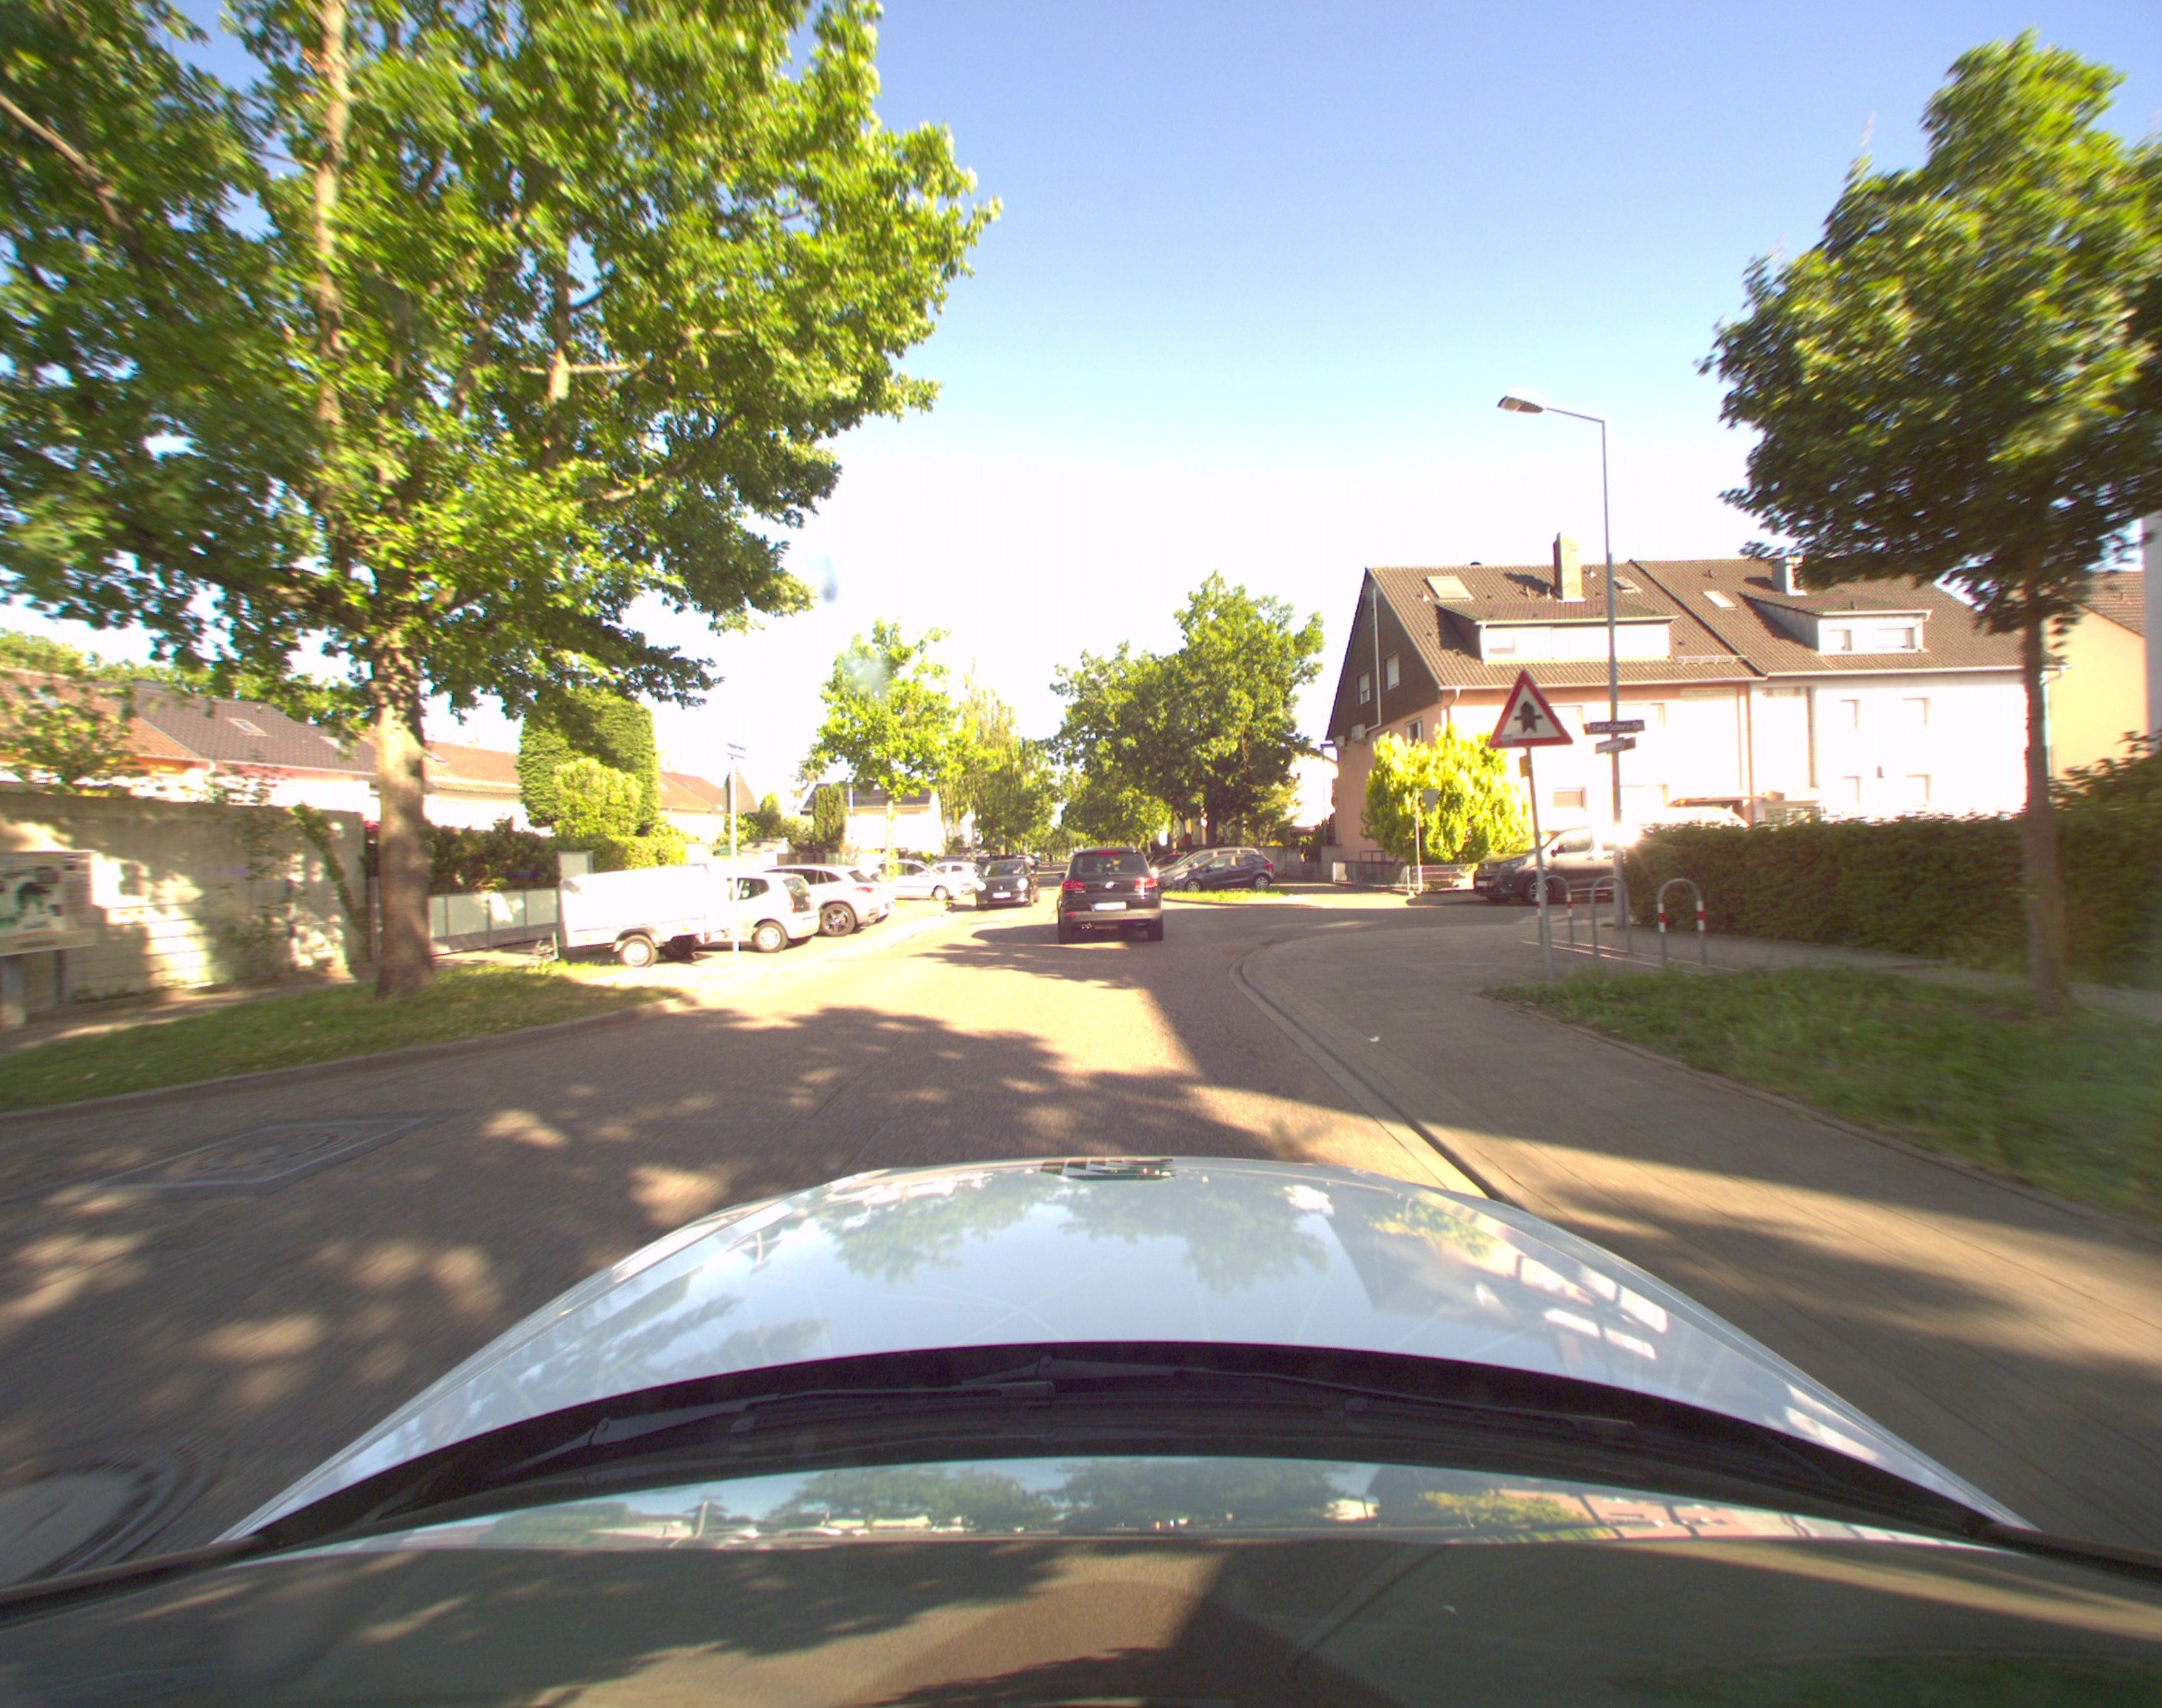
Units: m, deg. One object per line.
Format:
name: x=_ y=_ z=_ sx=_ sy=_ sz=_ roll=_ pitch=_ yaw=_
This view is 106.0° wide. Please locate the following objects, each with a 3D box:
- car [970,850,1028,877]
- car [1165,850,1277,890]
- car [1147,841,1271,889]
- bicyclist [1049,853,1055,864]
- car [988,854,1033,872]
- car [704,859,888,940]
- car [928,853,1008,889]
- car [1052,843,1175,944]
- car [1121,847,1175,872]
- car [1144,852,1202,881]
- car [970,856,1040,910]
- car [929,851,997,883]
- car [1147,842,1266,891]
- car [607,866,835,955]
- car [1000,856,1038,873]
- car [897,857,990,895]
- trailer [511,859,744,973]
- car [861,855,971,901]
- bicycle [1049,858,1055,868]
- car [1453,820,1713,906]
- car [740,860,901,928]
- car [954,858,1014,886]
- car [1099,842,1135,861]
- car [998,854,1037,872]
car: x=-6.296 y=0.766 z=62.911 sx=4.382 sy=1.939 sz=1.576 roll=-1 pitch=-2 yaw=-5
car: x=5.313 y=0.595 z=31.320 sx=3.974 sy=1.368 sz=1.846 roll=-2 pitch=0 yaw=0
car: x=5.726 y=0.488 z=36.859 sx=5.243 sy=1.945 sz=2.000 roll=-2 pitch=0 yaw=0
bicyclist: x=-3.694 y=0.591 z=103.168 sx=0.699 sy=1.346 sz=0.506 roll=-2 pitch=-2 yaw=-4
car: x=-6.588 y=0.820 z=76.241 sx=3.973 sy=1.499 sz=2.000 roll=-2 pitch=-2 yaw=0
car: x=-6.325 y=0.968 z=18.441 sx=3.544 sy=1.613 sz=1.849 roll=-2 pitch=0 yaw=-6
car: x=-5.947 y=0.884 z=43.346 sx=3.979 sy=1.731 sz=1.997 roll=-2 pitch=0 yaw=-4
car: x=0.454 y=0.644 z=15.636 sx=1.925 sy=1.654 sz=4.508 roll=0 pitch=0 yaw=-4
car: x=5.083 y=0.386 z=62.275 sx=3.973 sy=1.775 sz=1.790 roll=-2 pitch=0 yaw=0
car: x=5.149 y=0.685 z=45.669 sx=3.040 sy=1.507 sz=1.244 roll=-2 pitch=0 yaw=-6
car: x=-2.420 y=0.886 z=26.920 sx=1.904 sy=1.555 sz=3.999 roll=-3 pitch=0 yaw=-1
car: x=-7.335 y=0.814 z=50.798 sx=3.979 sy=1.836 sz=1.635 roll=-2 pitch=0 yaw=-4
car: x=5.163 y=0.520 z=33.818 sx=4.618 sy=1.809 sz=1.823 roll=-2 pitch=0 yaw=0
car: x=-6.841 y=1.036 z=15.761 sx=3.537 sy=1.477 sz=1.808 roll=-2 pitch=0 yaw=0
car: x=-6.719 y=1.109 z=88.291 sx=3.984 sy=1.684 sz=1.995 roll=-2 pitch=0 yaw=-8
car: x=-6.474 y=1.033 z=38.583 sx=3.972 sy=1.640 sz=2.001 roll=-2 pitch=0 yaw=1
trailer: x=-7.349 y=0.965 z=13.399 sx=2.961 sy=1.656 sz=1.394 roll=-2 pitch=0 yaw=-4
car: x=-6.671 y=0.962 z=33.243 sx=3.973 sy=1.670 sz=2.001 roll=-2 pitch=0 yaw=1
bicycle: x=-3.712 y=1.182 z=103.190 sx=0.636 sy=1.163 sz=1.738 roll=-2 pitch=-2 yaw=-3
car: x=12.356 y=0.229 z=20.281 sx=5.228 sy=1.847 sz=2.069 roll=-2 pitch=-2 yaw=-3
car: x=-6.615 y=0.988 z=20.988 sx=3.543 sy=1.557 sz=1.849 roll=-2 pitch=-1 yaw=-5
car: x=-5.653 y=1.051 z=47.938 sx=3.364 sy=1.490 sz=1.641 roll=-2 pitch=0 yaw=-4
car: x=4.106 y=-0.282 z=93.712 sx=3.973 sy=2.014 sz=2.000 roll=-2 pitch=-2 yaw=0
car: x=-6.720 y=0.957 z=85.891 sx=3.984 sy=1.684 sz=1.918 roll=-2 pitch=0 yaw=-8
